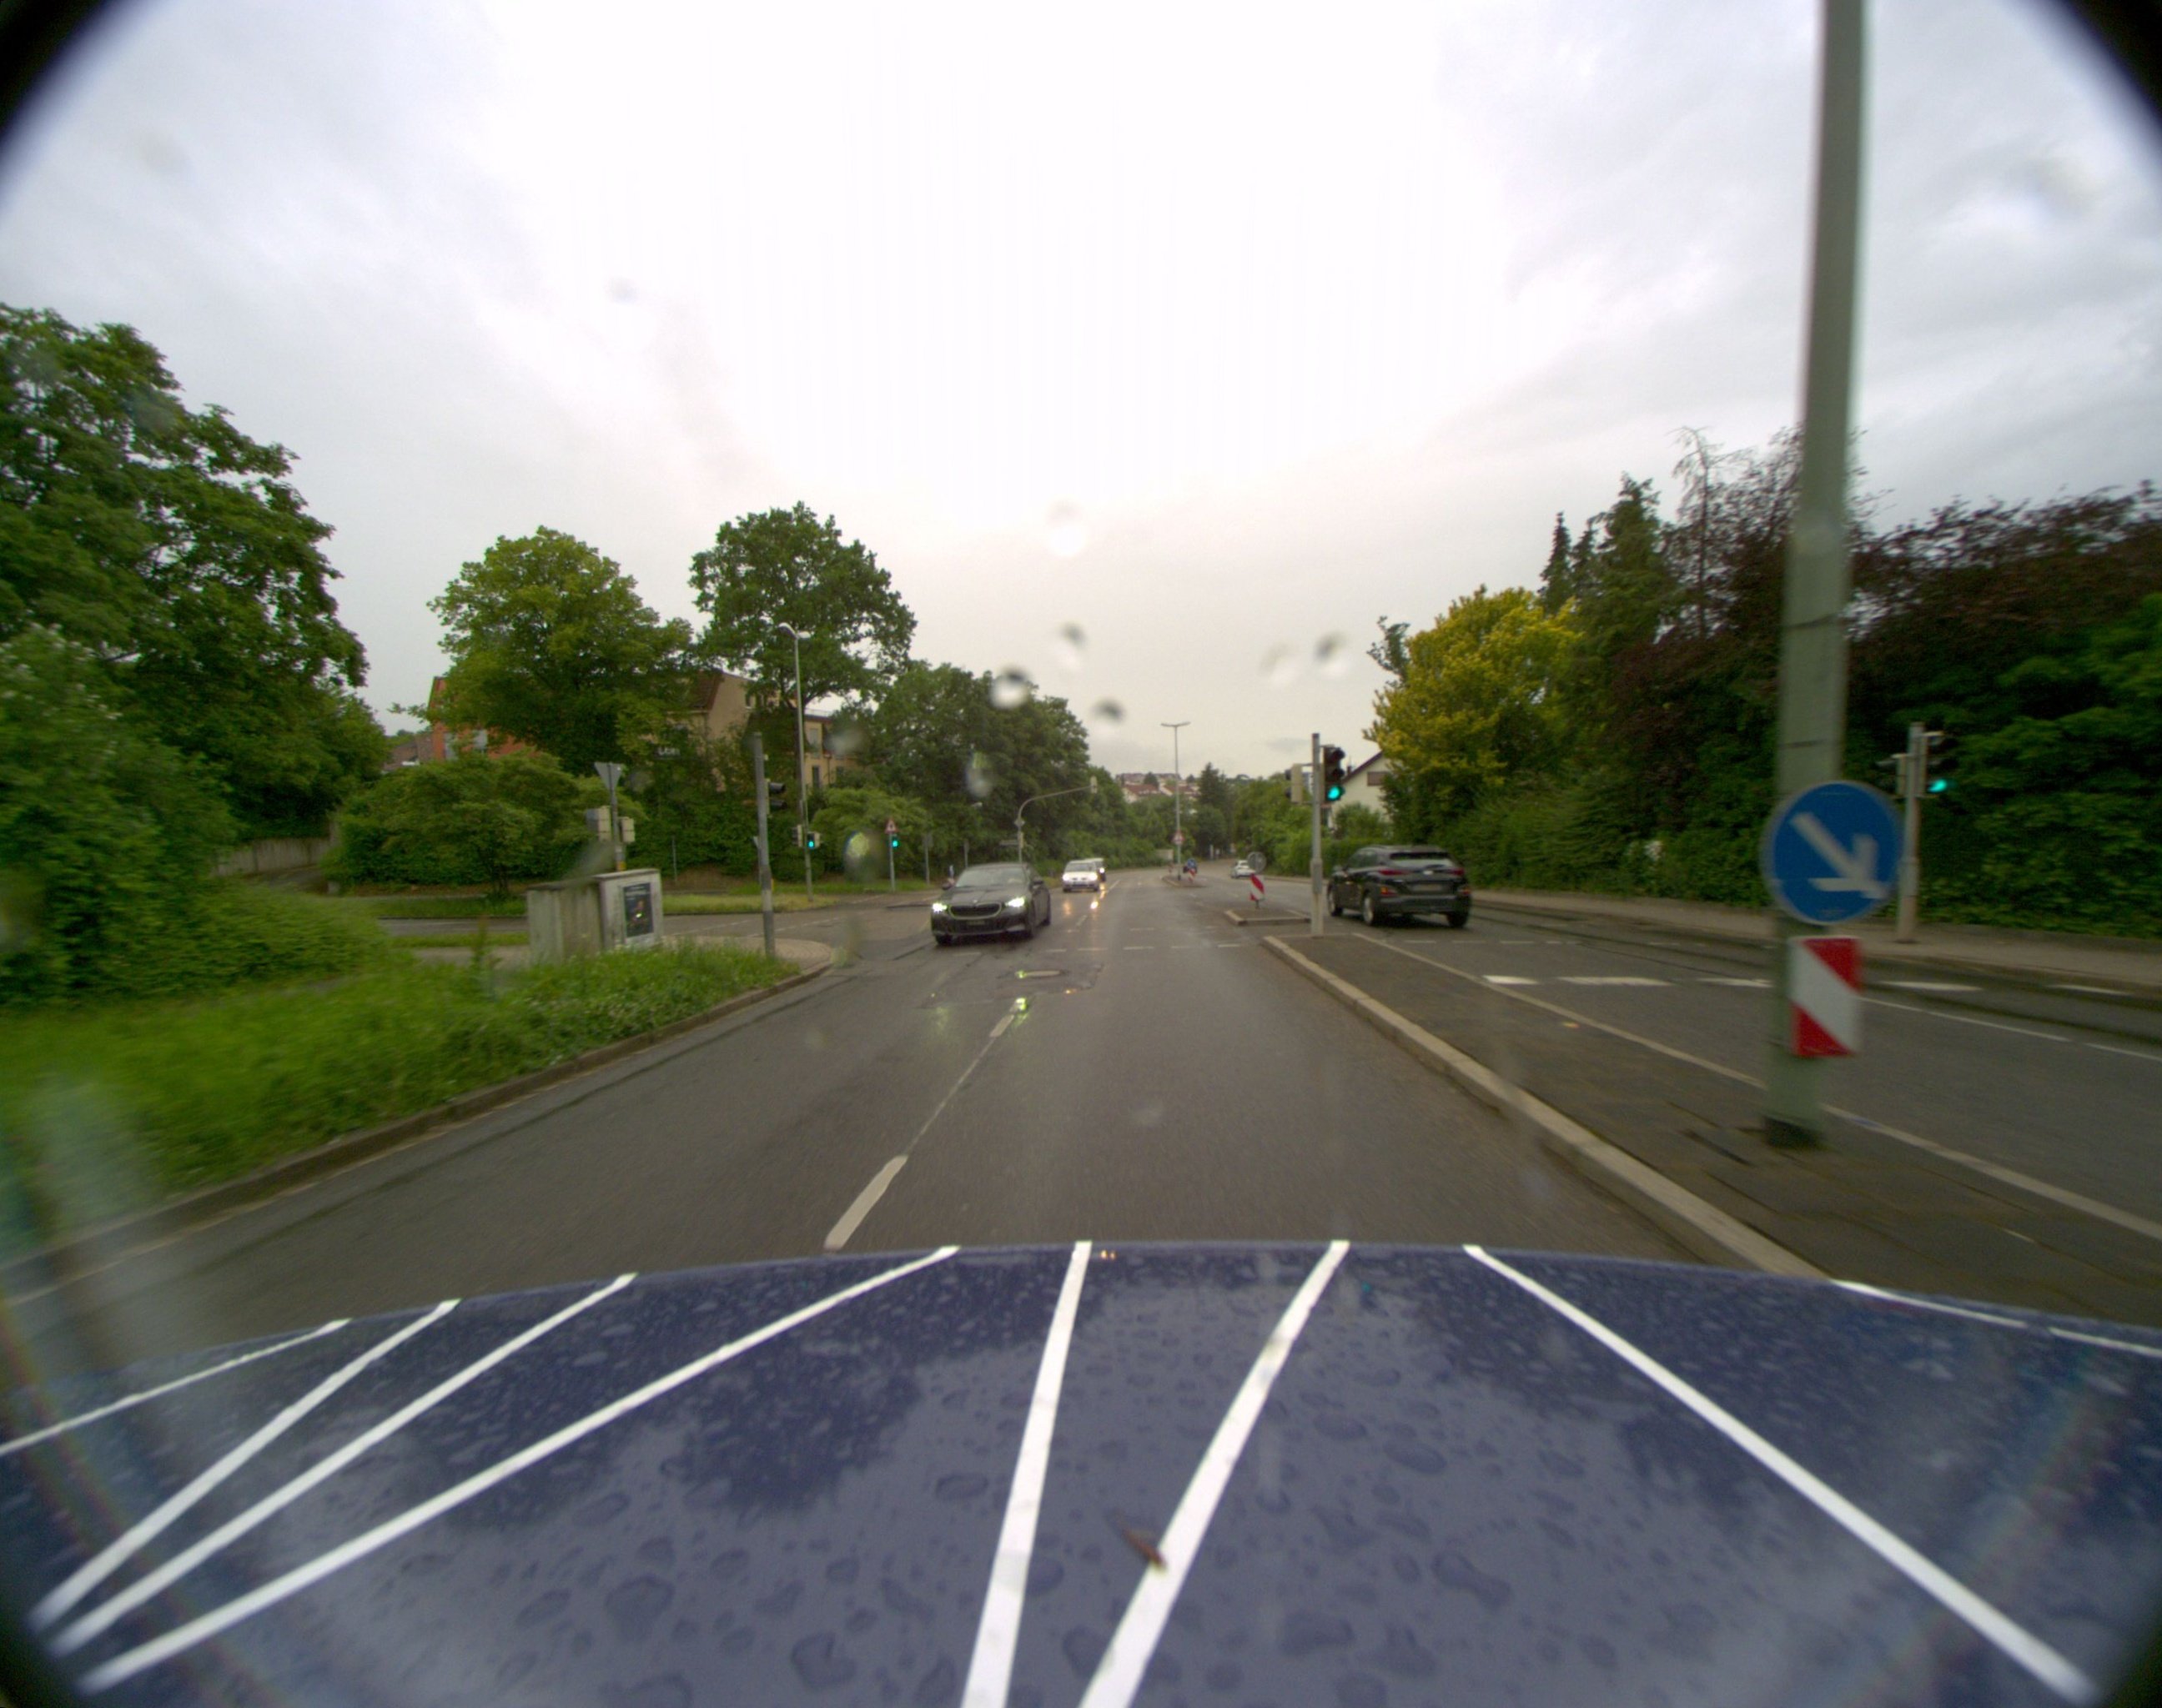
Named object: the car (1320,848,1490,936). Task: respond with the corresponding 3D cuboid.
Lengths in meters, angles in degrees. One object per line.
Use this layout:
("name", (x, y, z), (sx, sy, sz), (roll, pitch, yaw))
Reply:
("car", (6.365, 0.670, 15.443), (2.030, 1.554, 3.878), (0, 0, 4))

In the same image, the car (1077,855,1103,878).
("car", (0.741, 0.956, 60.085), (1.814, 1.797, 4.120), (0, 0, 4))

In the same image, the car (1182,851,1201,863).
("car", (14.325, 0.377, 98.397), (1.865, 1.484, 3.838), (-1, -1, 16))

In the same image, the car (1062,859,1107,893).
("car", (0.234, 1.020, 37.239), (1.813, 1.546, 4.121), (0, 0, 5))

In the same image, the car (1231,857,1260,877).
("car", (12.972, 0.989, 60.104), (1.731, 1.476, 4.158), (0, 0, 4))

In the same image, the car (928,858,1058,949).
("car", (-1.655, 0.902, 15.736), (1.866, 1.547, 4.120), (0, 1, 5))
